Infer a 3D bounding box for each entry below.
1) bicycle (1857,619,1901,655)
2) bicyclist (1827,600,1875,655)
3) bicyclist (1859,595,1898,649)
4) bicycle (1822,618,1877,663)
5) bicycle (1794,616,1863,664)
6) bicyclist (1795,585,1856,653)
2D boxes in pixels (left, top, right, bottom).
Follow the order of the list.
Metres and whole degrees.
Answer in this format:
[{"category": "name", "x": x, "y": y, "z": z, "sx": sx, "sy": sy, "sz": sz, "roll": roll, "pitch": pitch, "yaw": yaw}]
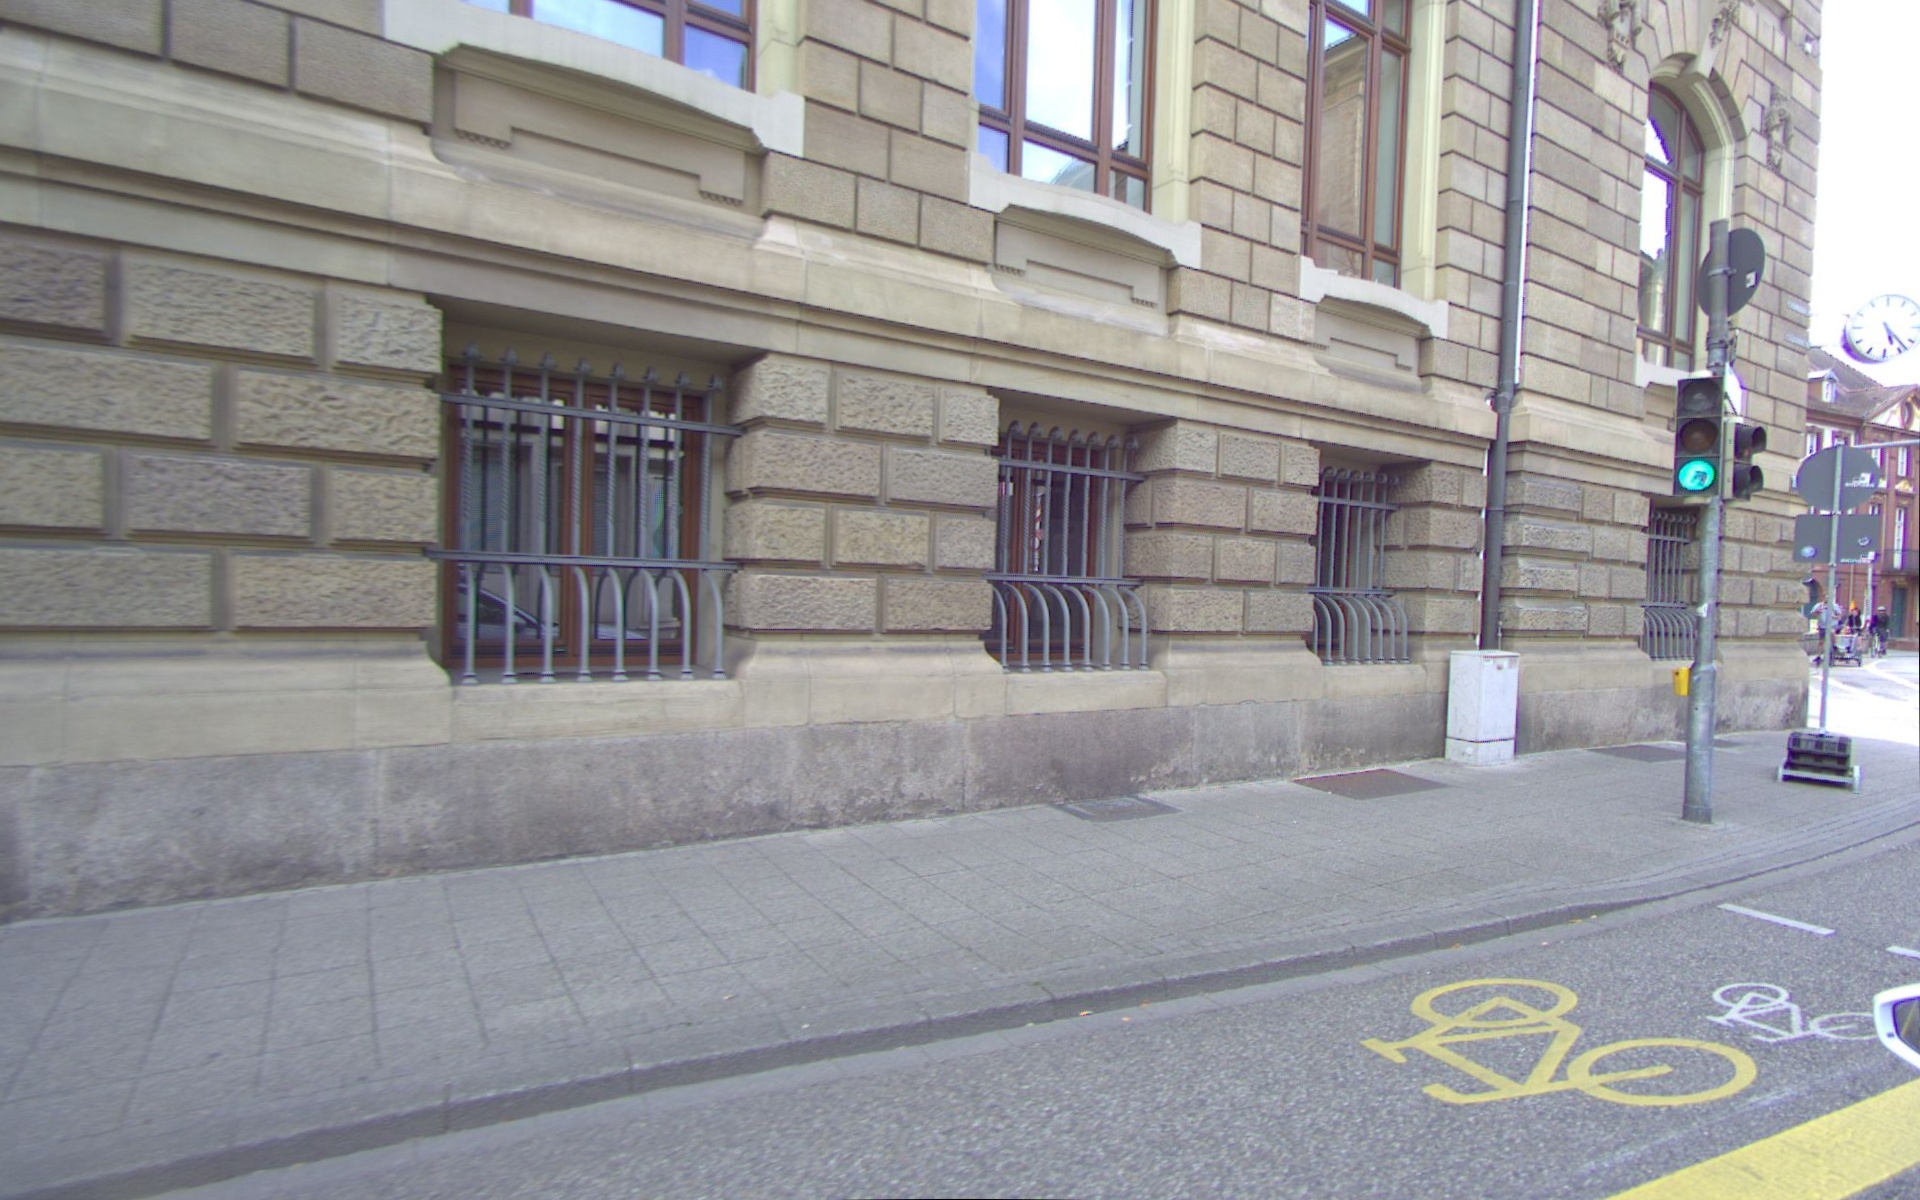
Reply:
[{"category": "bicycle", "x": 34.644, "y": 1.380, "z": 37.873, "sx": 2.521, "sy": 1.272, "sz": 0.918, "roll": 2, "pitch": 0, "yaw": -41}, {"category": "bicyclist", "x": 27.368, "y": 0.850, "z": 30.850, "sx": 1.055, "sy": 1.630, "sz": 0.918, "roll": 2, "pitch": 0, "yaw": -41}, {"category": "bicyclist", "x": 34.477, "y": 0.833, "z": 37.688, "sx": 1.097, "sy": 1.989, "sz": 0.918, "roll": 2, "pitch": 0, "yaw": -41}, {"category": "bicycle", "x": 27.317, "y": 1.235, "z": 30.828, "sx": 2.521, "sy": 1.272, "sz": 0.918, "roll": 2, "pitch": 0, "yaw": -41}, {"category": "bicycle", "x": 24.628, "y": 1.122, "z": 28.456, "sx": 3.017, "sy": 1.272, "sz": 1.047, "roll": 2, "pitch": 0, "yaw": -41}, {"category": "bicyclist", "x": 24.370, "y": 0.521, "z": 28.275, "sx": 1.354, "sy": 1.848, "sz": 1.081, "roll": 2, "pitch": 0, "yaw": -41}]
